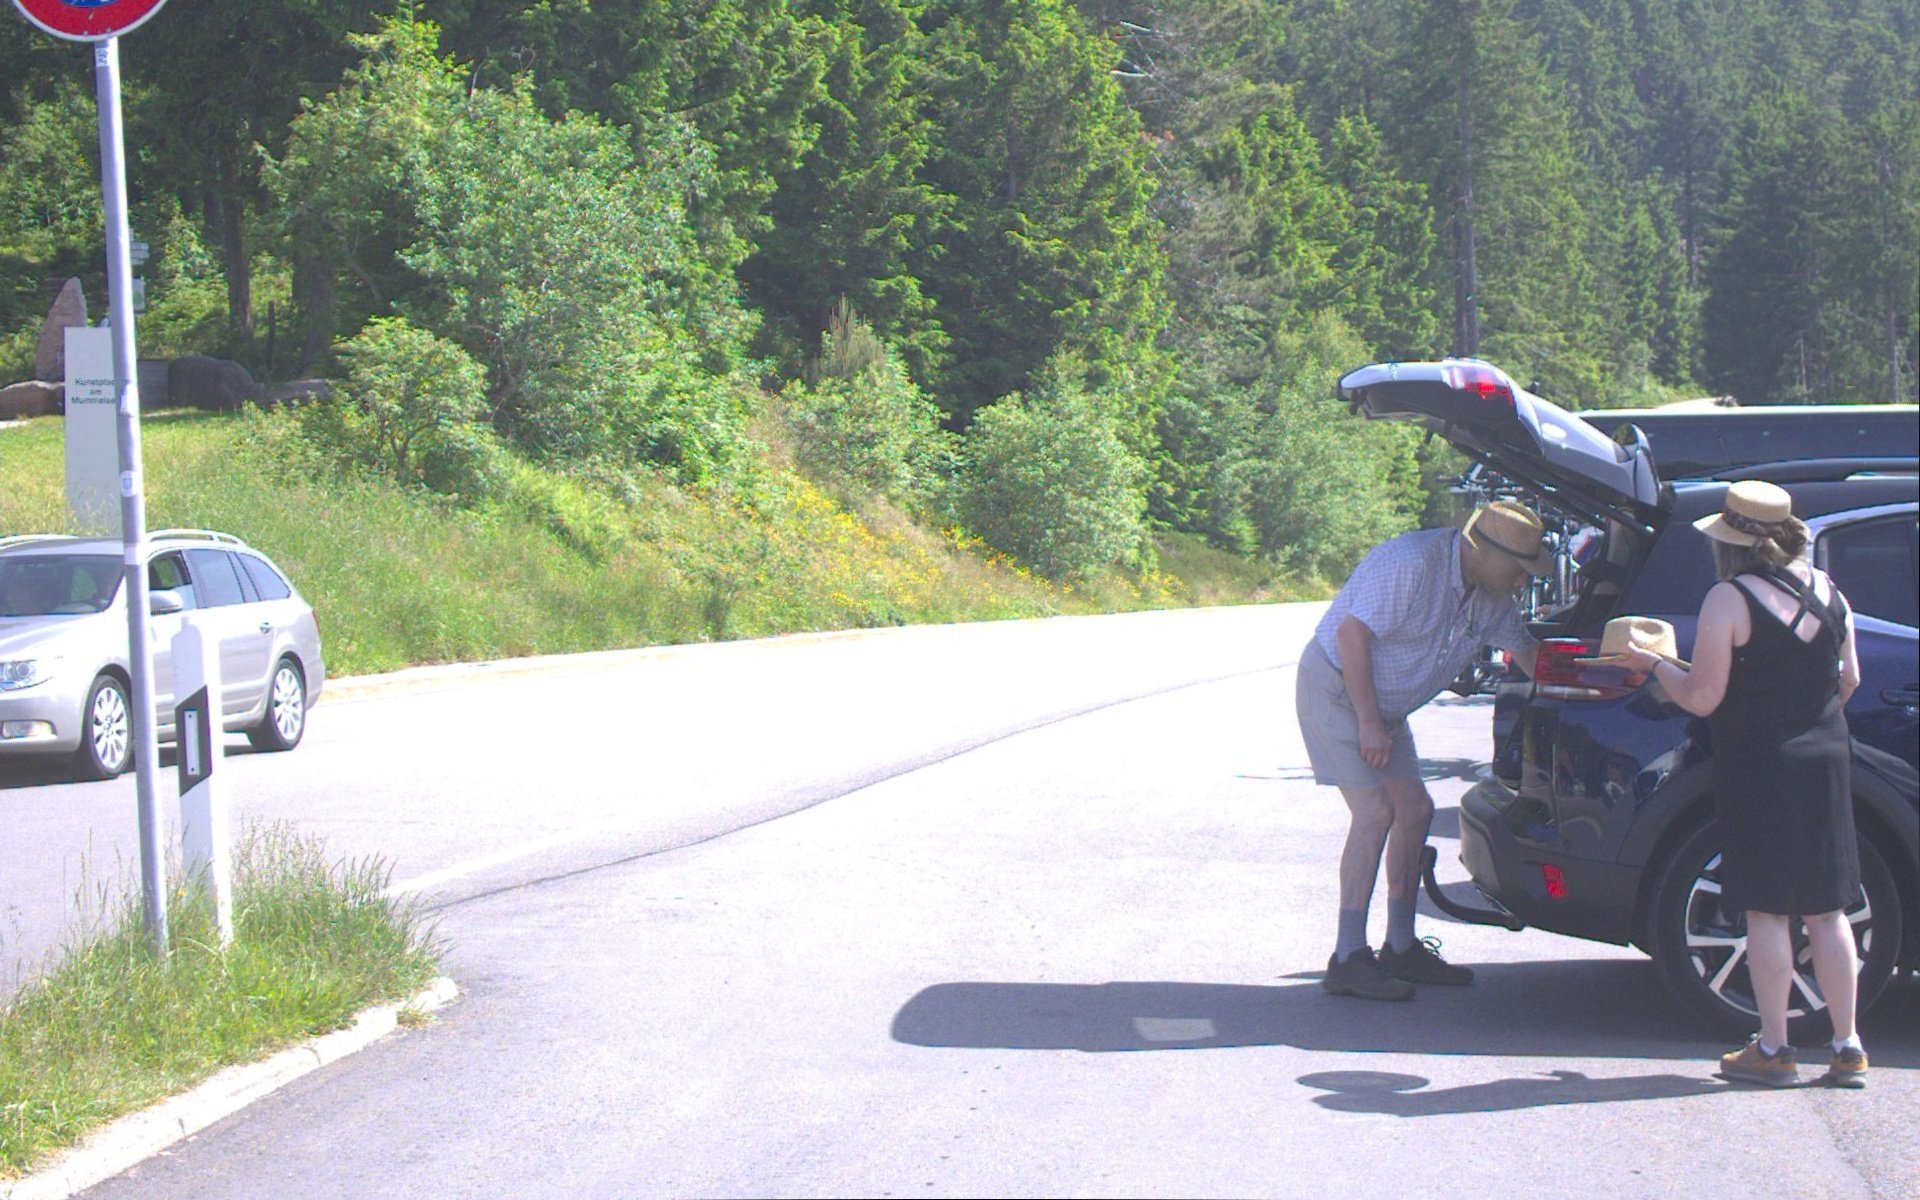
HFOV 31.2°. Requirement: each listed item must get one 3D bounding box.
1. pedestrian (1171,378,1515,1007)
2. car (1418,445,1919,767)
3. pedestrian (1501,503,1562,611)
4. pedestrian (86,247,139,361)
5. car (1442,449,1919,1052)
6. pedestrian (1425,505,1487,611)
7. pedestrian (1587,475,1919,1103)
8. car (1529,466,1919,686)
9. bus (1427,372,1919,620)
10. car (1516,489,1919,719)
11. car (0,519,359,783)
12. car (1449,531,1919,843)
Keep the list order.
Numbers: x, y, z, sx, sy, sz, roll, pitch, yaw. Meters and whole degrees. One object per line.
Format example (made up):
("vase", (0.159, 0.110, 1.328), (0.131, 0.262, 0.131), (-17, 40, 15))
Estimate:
("pedestrian", (1.193, 0.246, 10.714), (0.737, 1.864, 0.756), (4, 5, 42))
("car", (5.130, 0.008, 19.003), (4.952, 1.690, 1.944), (-1, 1, 14))
("pedestrian", (8.530, -0.648, 51.289), (0.771, 1.579, 0.772), (-1, 1, 18))
("pedestrian", (-14.319, -4.992, 58.083), (0.682, 1.871, 0.540), (-1, 1, 44))
("car", (3.709, 0.474, 10.345), (4.345, 1.620, 1.869), (3, 1, 6))
("pedestrian", (7.479, -0.633, 51.849), (0.771, 1.579, 0.772), (-1, 1, 18))
("pedestrian", (2.110, 0.487, 9.112), (0.714, 1.607, 0.537), (1, 1, -9))
("car", (7.135, -0.216, 27.357), (5.036, 1.645, 2.047), (-1, 1, 12))
("bus", (13.855, -1.588, 51.792), (13.108, 3.520, 3.040), (-1, 1, 22))
("car", (6.175, 0.000, 24.566), (4.246, 1.548, 1.837), (-1, 1, 12))
("car", (-5.542, 0.230, 21.631), (1.880, 1.469, 4.712), (0, 1, 11))
("car", (4.469, 0.405, 16.515), (4.082, 1.372, 1.702), (1, 1, 5))
